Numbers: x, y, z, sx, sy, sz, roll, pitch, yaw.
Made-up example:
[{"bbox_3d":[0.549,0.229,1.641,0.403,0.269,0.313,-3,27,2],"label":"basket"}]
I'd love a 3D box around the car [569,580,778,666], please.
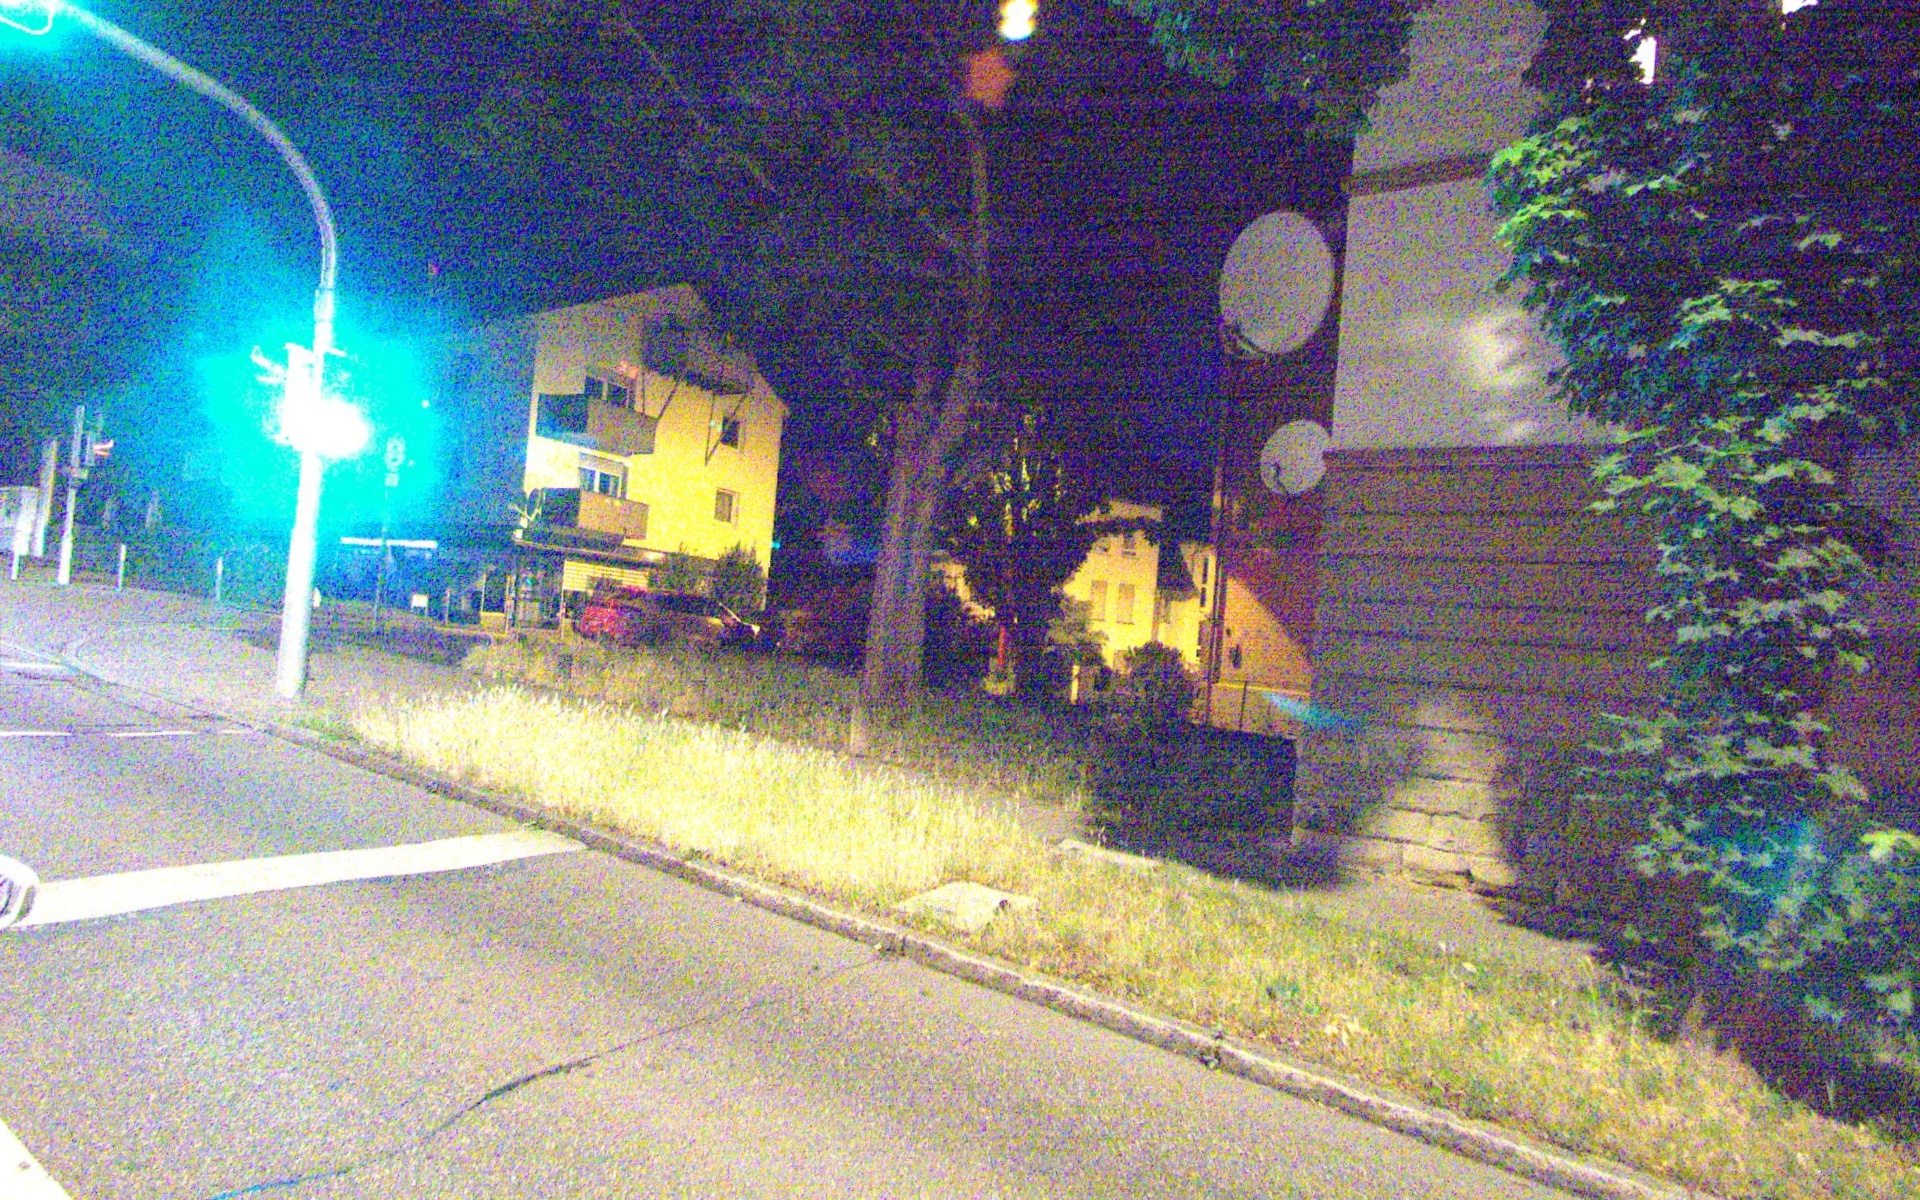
[{"bbox_3d":[-6.506,0.584,23.297,1.778,1.577,4.366,3,-3,38],"label":"car"}]
